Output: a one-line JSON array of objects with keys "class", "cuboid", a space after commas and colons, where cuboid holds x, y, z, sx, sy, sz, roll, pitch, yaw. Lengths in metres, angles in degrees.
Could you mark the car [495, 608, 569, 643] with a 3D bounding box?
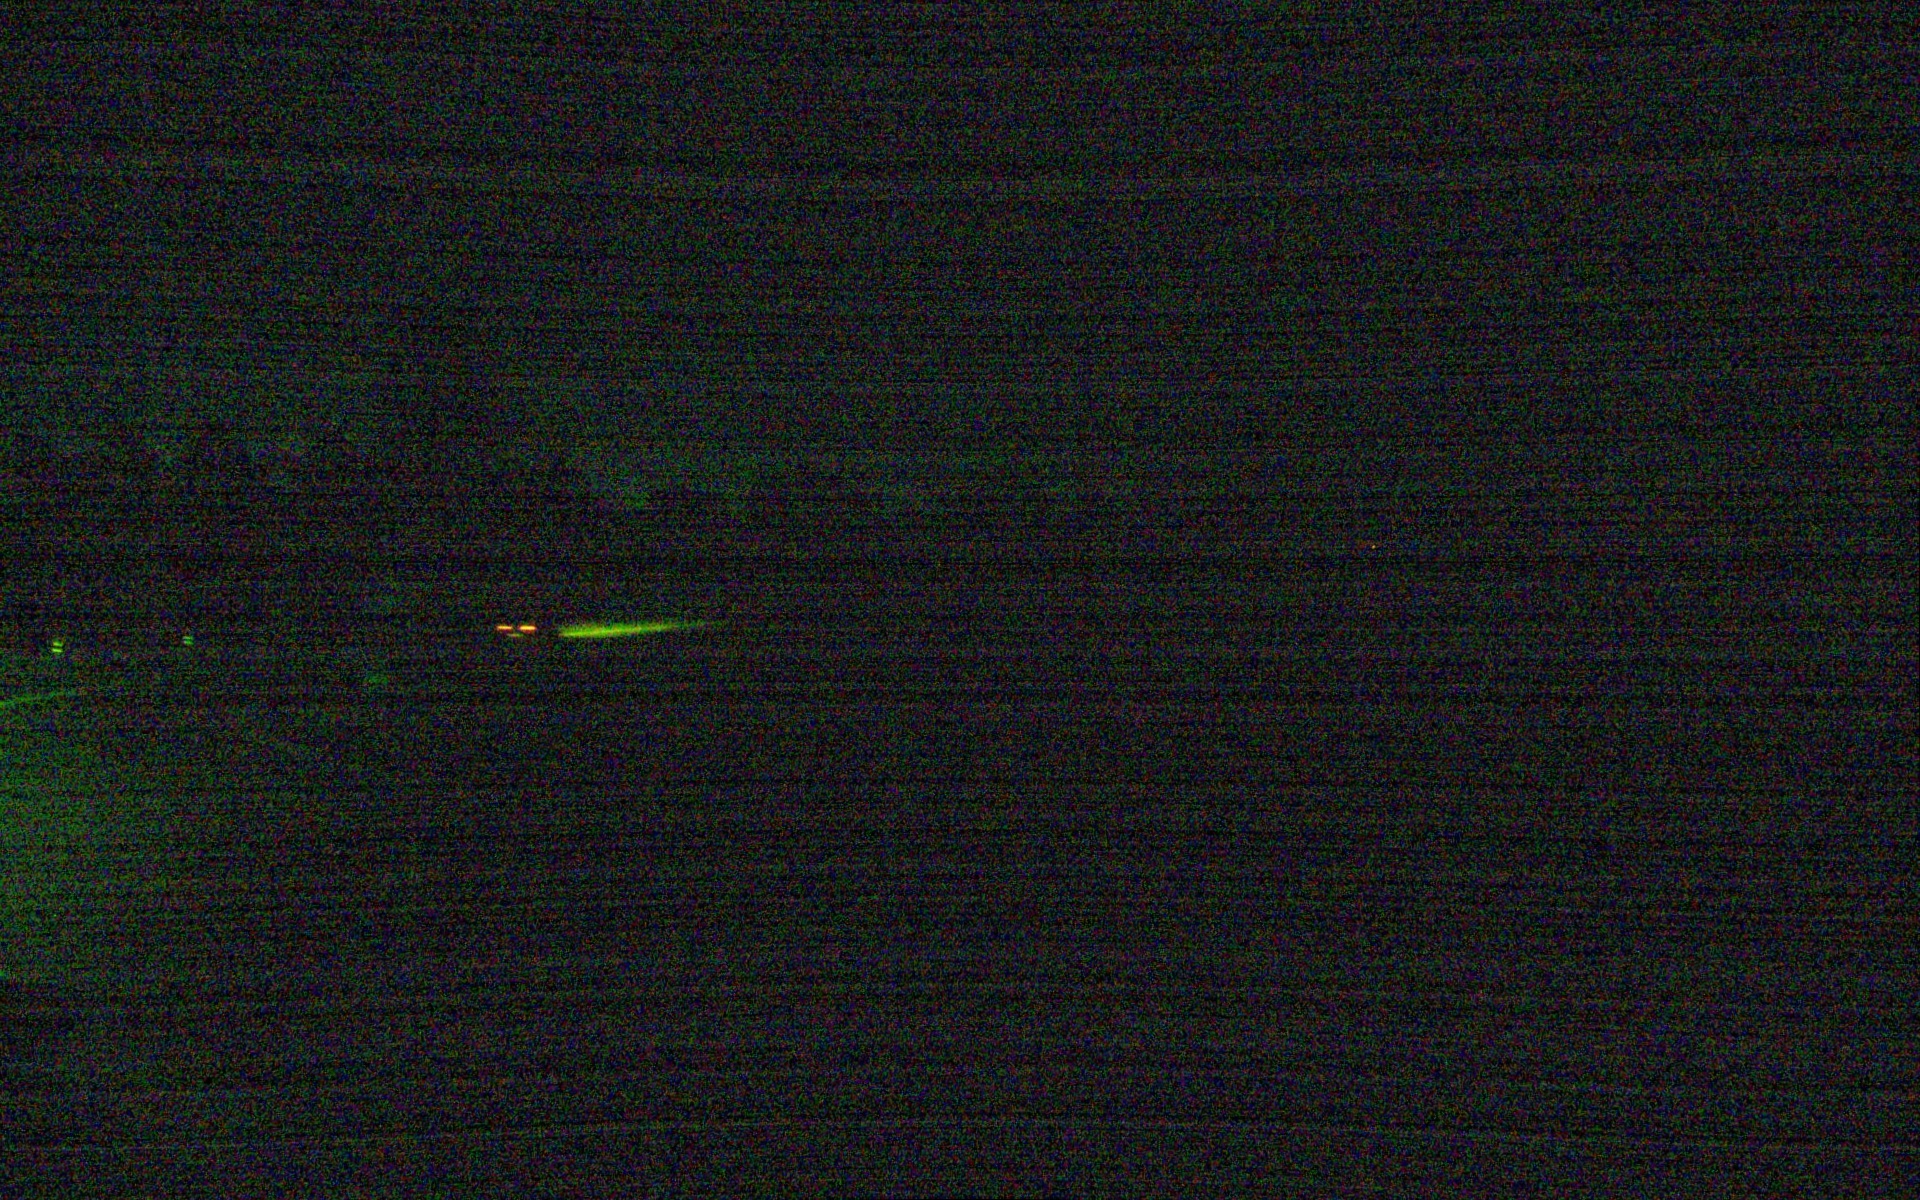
[{"class": "car", "cuboid": [-23.735, 1.372, 55.744, 1.901, 1.840, 4.263, 0, 0, 7]}]
